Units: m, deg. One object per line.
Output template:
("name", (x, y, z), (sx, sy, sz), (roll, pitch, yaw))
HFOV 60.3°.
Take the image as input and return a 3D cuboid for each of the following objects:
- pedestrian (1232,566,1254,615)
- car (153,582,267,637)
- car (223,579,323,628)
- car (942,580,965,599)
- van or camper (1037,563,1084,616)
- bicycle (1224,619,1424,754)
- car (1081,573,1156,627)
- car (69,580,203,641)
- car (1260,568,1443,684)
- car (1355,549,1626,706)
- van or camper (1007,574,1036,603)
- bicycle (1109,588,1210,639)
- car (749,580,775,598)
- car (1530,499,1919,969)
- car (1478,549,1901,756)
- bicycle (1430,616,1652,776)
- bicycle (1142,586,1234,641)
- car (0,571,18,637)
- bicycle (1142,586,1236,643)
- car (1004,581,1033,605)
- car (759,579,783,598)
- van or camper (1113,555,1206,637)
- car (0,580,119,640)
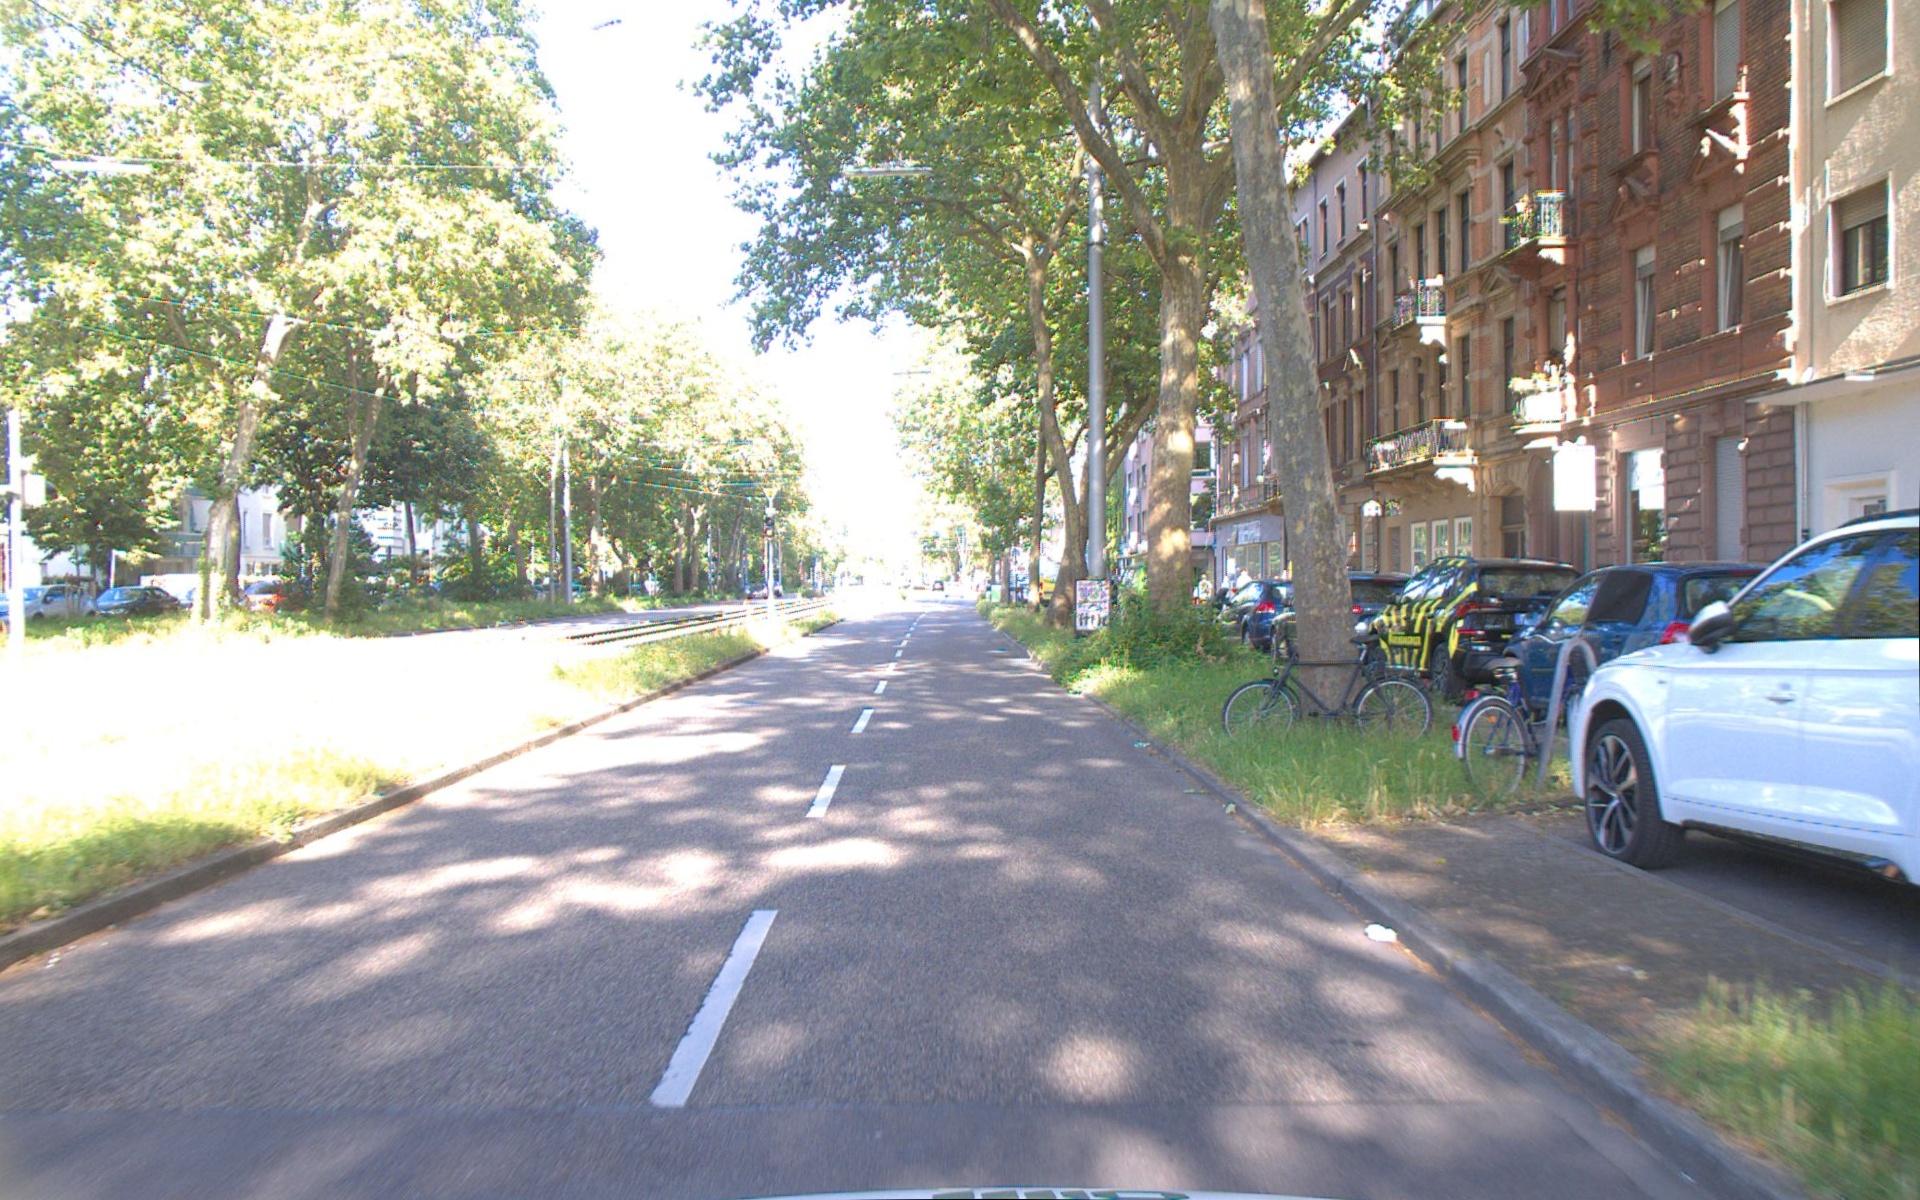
("pedestrian", (10.713, -0.368, 62.648), (0.688, 1.854, 0.611), (0, 0, -1))
("car", (-26.651, 0.298, 58.964), (2.067, 1.840, 4.736), (0, 1, -3))
("car", (-26.836, 0.096, 64.757), (2.066, 1.840, 4.736), (0, 1, -2))
("car", (-0.633, -0.924, 148.728), (1.980, 1.691, 3.999), (0, 0, -1))
("van or camper", (5.081, -0.514, 84.571), (2.139, 2.523, 6.269), (2, 0, 2))
("bicycle", (2.969, 0.697, 13.557), (1.560, 1.077, 0.404), (0, 0, 6))
("car", (5.352, -0.024, 56.409), (1.853, 1.676, 4.798), (2, 0, -2))
("car", (-26.574, 0.300, 53.548), (2.066, 1.840, 4.737), (0, 1, -2))
("car", (5.709, 0.306, 24.652), (1.660, 1.533, 4.582), (0, 1, 0))
("car", (5.835, 0.221, 18.725), (1.660, 1.556, 4.261), (0, 1, -1))
("van or camper", (4.330, -0.815, 117.538), (1.802, 1.997, 5.126), (1, 0, -1))
("bicycle", (5.247, 0.354, 43.577), (2.501, 1.317, 0.973), (1, 0, -8))
("car", (-18.096, -0.991, 151.412), (1.759, 1.534, 4.338), (-3, 0, 0))
("car", (4.262, 0.460, 6.899), (1.865, 1.664, 4.821), (0, 1, -4))
("car", (5.927, 0.321, 14.052), (1.679, 1.477, 4.261), (0, 1, -1))
("bicycle", (3.864, 0.595, 10.933), (1.749, 0.944, 0.644), (-1, 0, -42))
("bicycle", (5.625, 0.336, 40.922), (2.120, 1.317, 0.983), (1, 0, -1))
("car", (-26.432, 0.131, 42.480), (1.731, 1.749, 4.422), (0, 1, 3))
("bicycle", (5.488, 0.338, 39.769), (2.119, 1.317, 0.983), (1, 0, 1))
("car", (3.937, -0.486, 112.085), (1.649, 1.540, 3.665), (1, 0, -3))
("car", (-19.994, -1.210, 175.006), (1.953, 1.903, 4.873), (-2, 1, 0))
("van or camper", (5.603, -0.126, 46.892), (1.797, 2.134, 4.772), (2, 0, -2))
("car", (-26.584, 0.245, 47.971), (1.952, 1.643, 4.422), (0, 1, 3))
